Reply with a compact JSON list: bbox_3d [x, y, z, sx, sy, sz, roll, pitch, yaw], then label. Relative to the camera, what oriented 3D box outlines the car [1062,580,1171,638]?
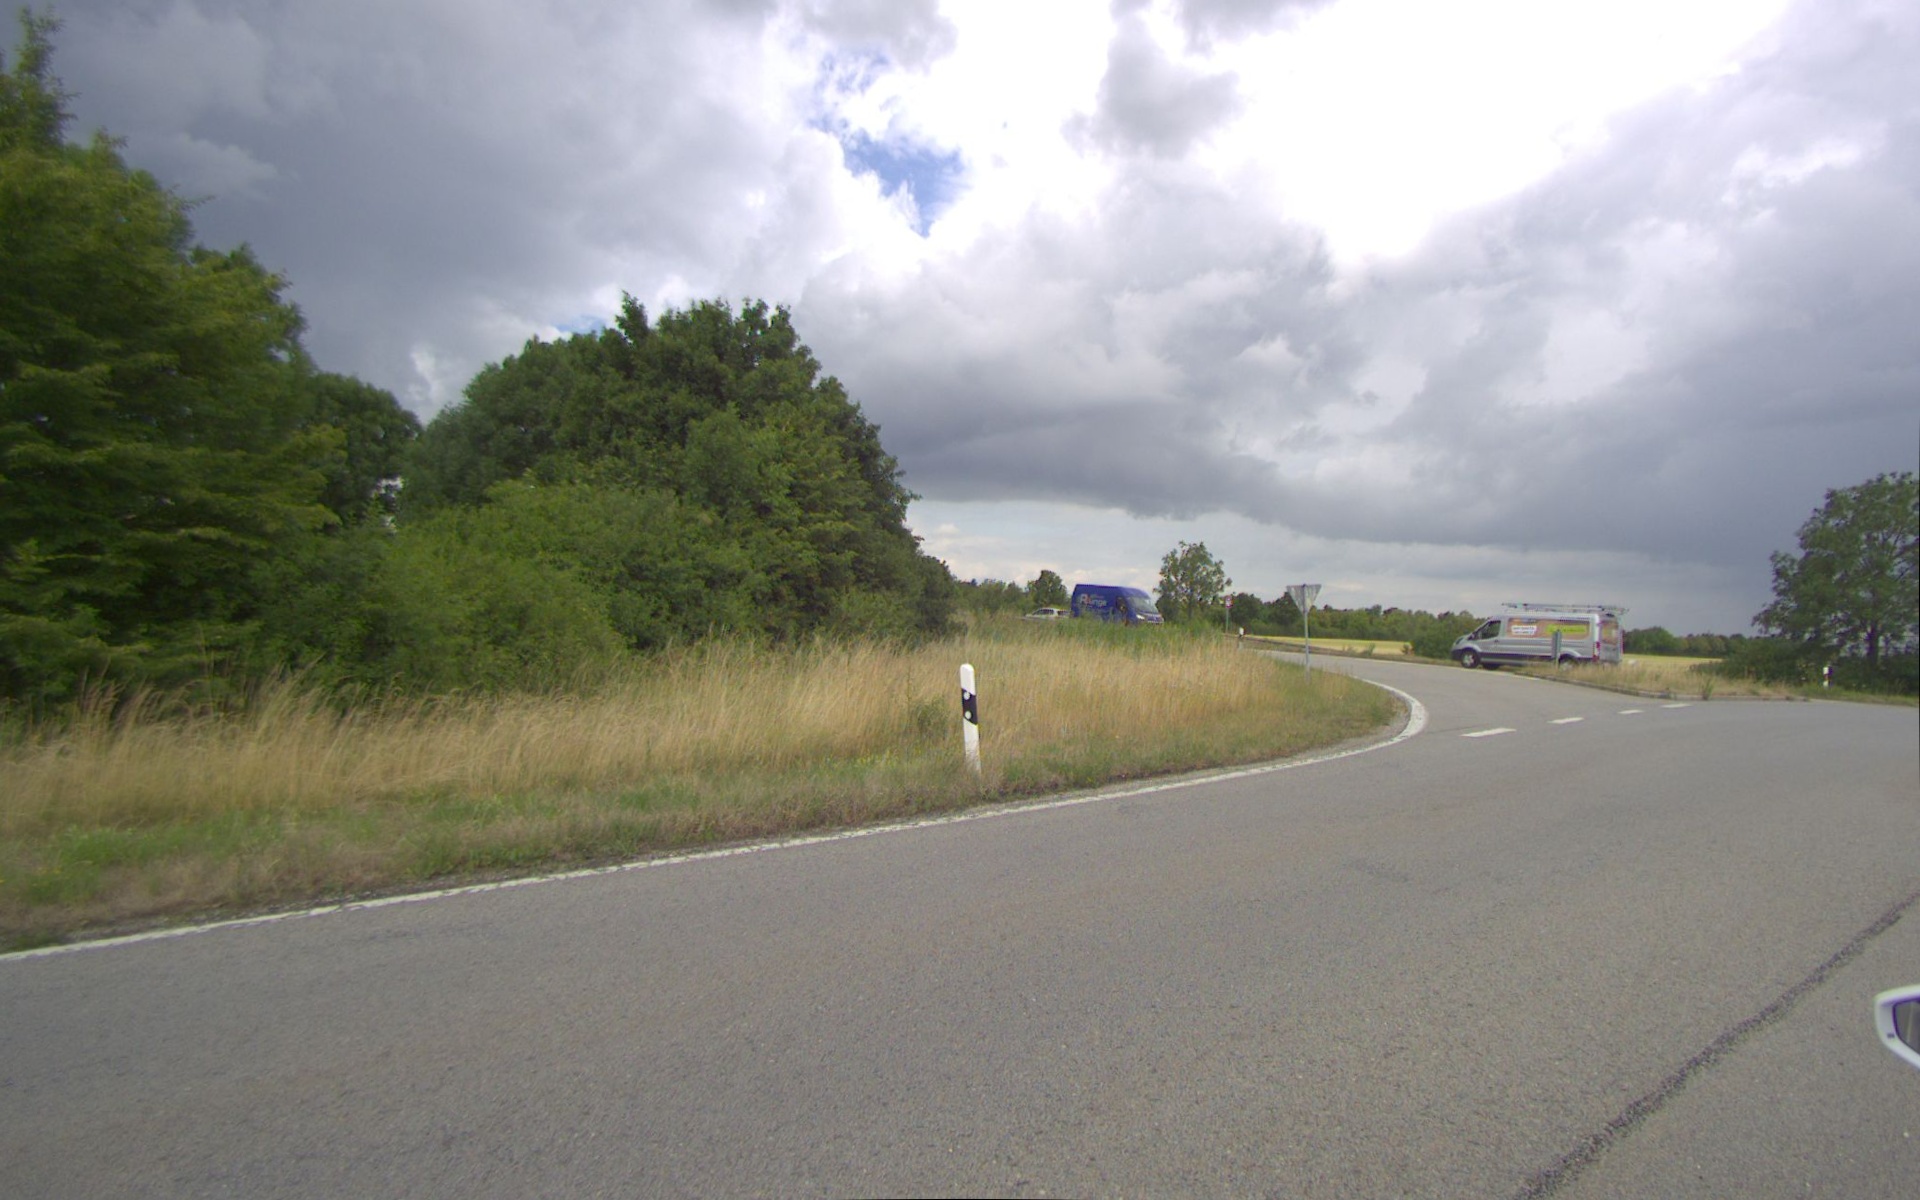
[{"bbox_3d":[7.594,0.398,49.360,2.126,2.674,5.520,2,0,-32],"label":"car"}]

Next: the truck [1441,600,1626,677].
[{"bbox_3d":[22.309,1.421,39.359,2.046,2.739,5.982,2,0,-36],"label":"truck"}]

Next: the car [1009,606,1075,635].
[{"bbox_3d":[5.110,1.287,63.206,1.983,1.684,3.956,2,-1,-38],"label":"car"}]
